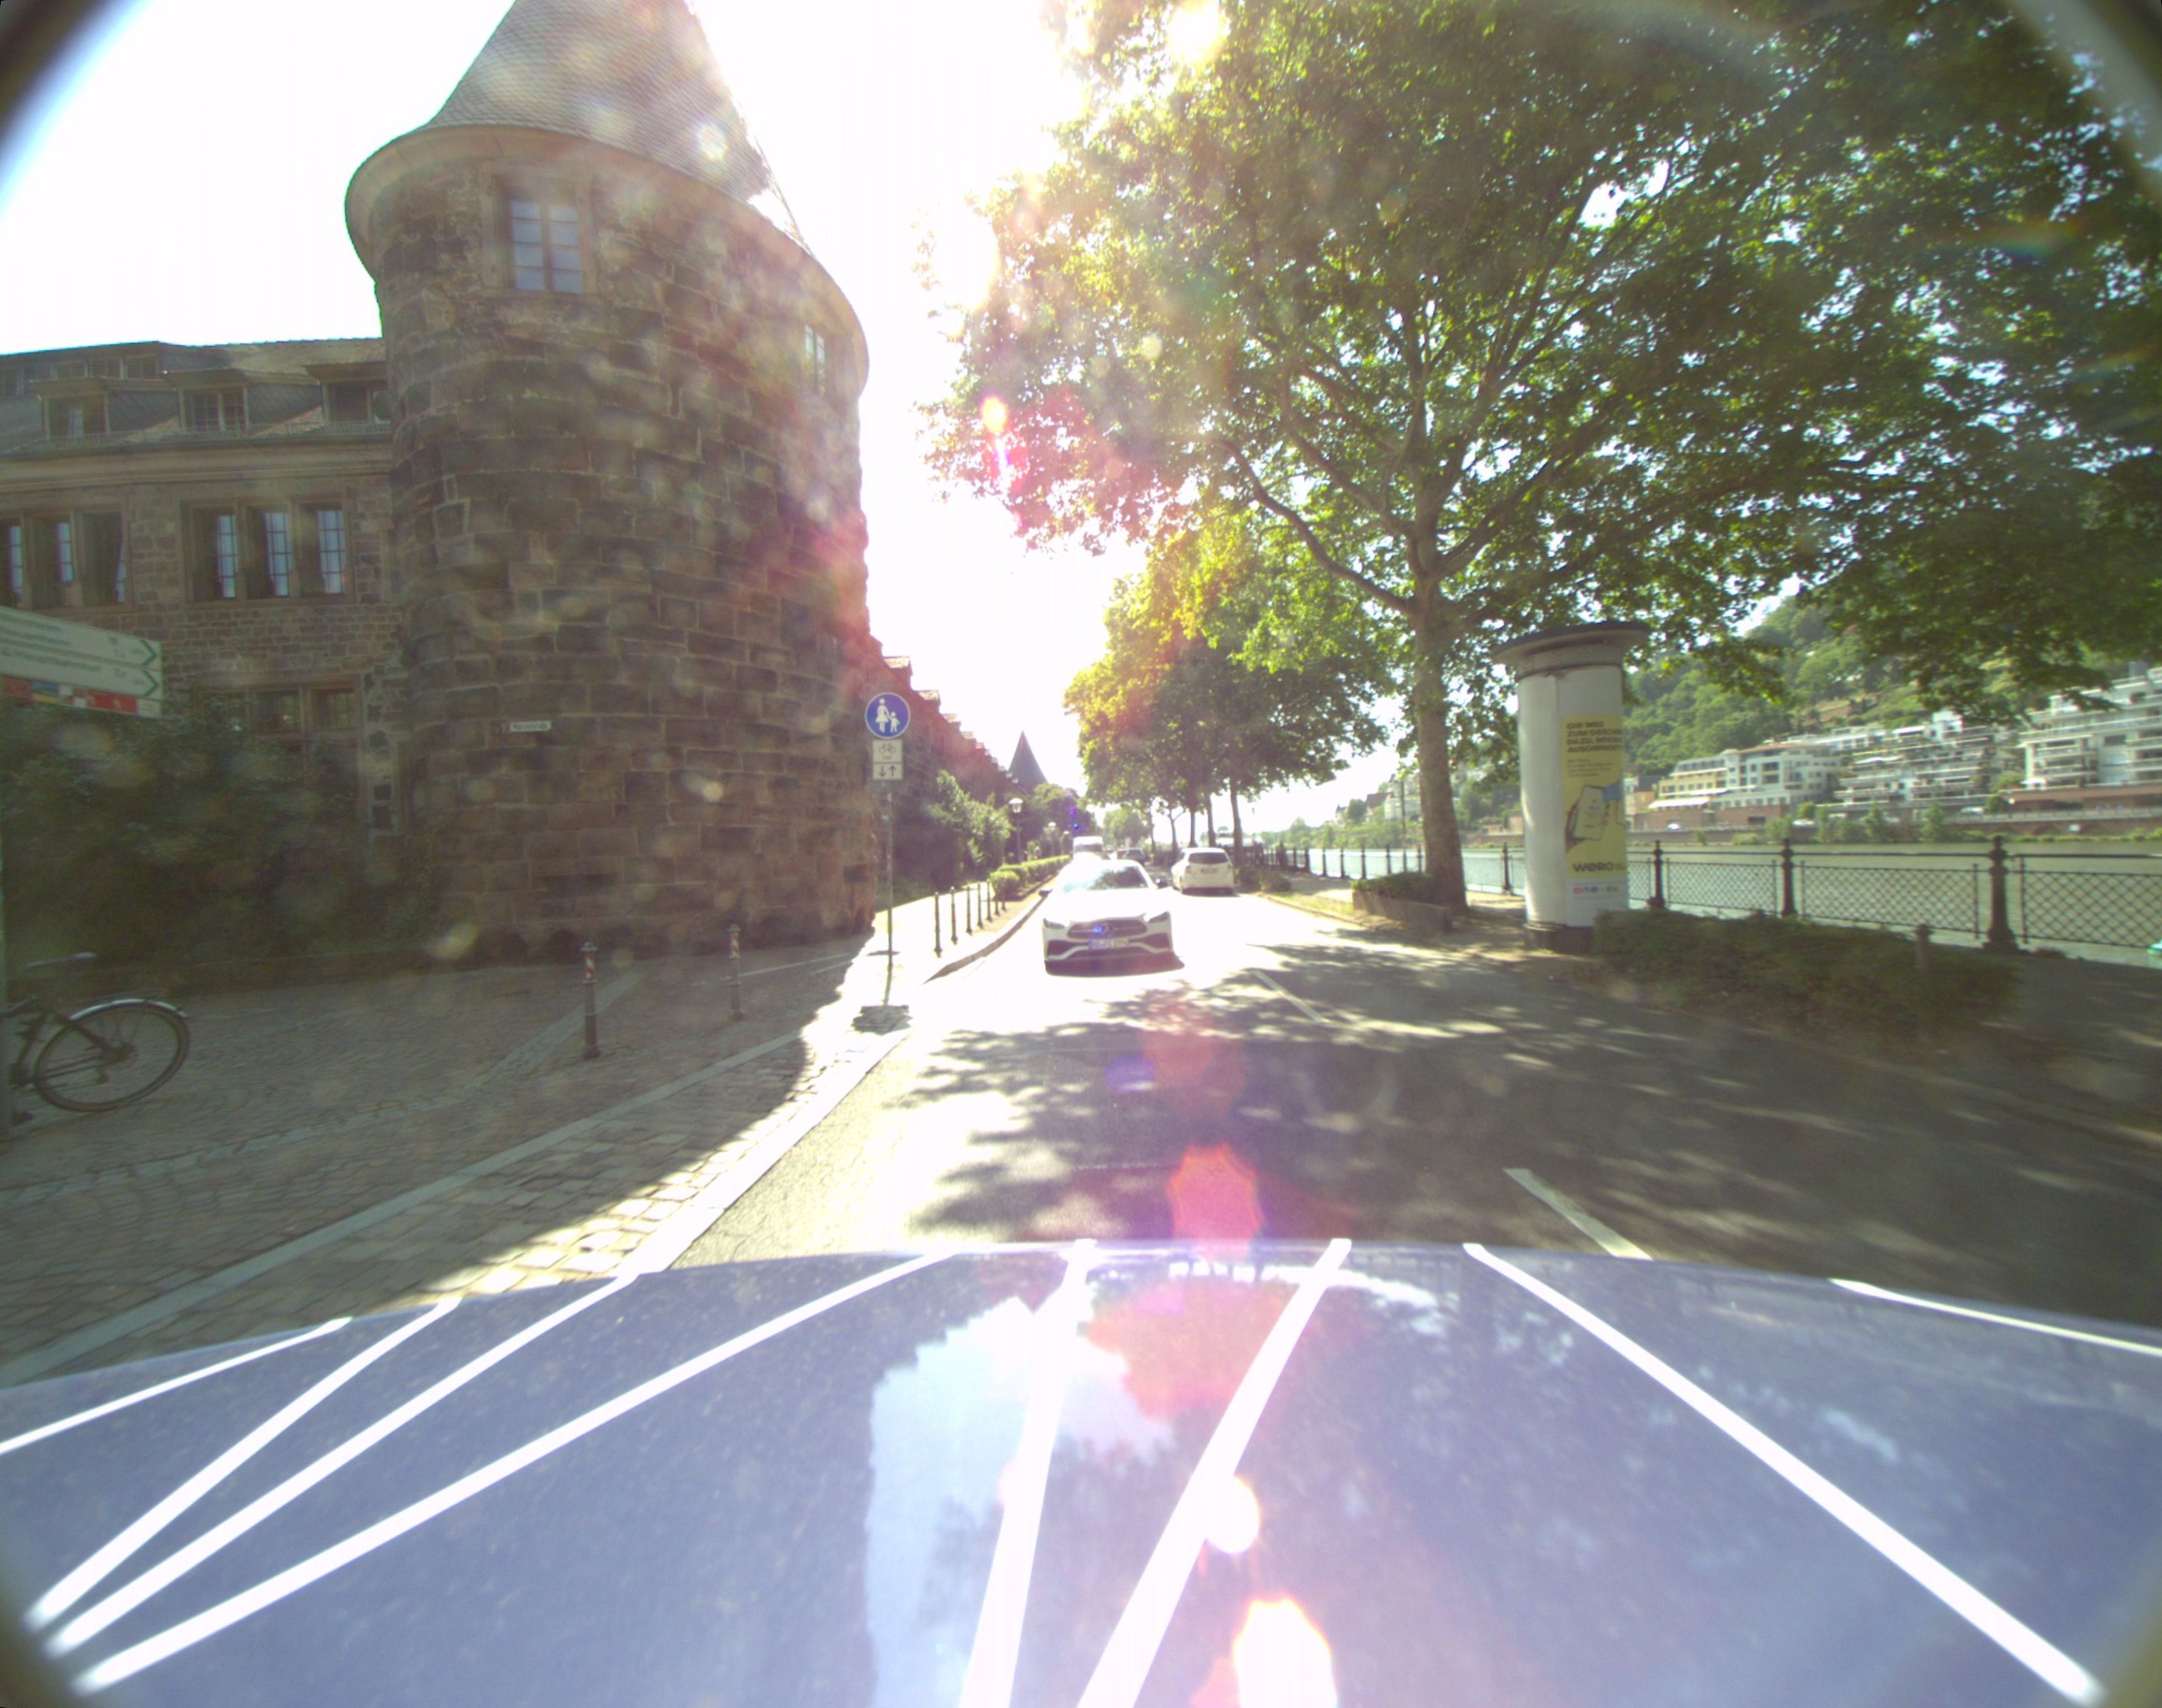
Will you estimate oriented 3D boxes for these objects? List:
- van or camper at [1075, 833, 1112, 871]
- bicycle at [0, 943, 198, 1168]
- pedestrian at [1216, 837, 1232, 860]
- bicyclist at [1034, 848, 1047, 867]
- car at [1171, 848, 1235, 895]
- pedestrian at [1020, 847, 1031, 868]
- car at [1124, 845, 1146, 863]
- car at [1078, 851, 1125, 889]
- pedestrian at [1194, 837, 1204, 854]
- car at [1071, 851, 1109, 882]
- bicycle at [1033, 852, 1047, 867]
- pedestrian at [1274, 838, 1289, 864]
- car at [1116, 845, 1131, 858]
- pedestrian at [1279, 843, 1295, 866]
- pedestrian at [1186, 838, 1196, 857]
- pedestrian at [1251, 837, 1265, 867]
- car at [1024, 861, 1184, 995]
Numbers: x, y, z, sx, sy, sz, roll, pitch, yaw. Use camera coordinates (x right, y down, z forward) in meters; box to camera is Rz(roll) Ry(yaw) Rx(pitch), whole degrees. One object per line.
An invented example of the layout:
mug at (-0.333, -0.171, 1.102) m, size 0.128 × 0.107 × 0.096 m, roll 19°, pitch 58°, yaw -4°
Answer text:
van or camper at (0.806, -0.173, 50.284) m, size 2.313 × 2.358 × 5.034 m, roll -1°, pitch 1°, yaw 1°
bicycle at (-6.350, 1.217, 4.344) m, size 0.194 × 1.197 × 1.770 m, roll -3°, pitch 0°, yaw 12°
pedestrian at (13.107, -0.477, 69.674) m, size 1.047 × 2.002 × 1.036 m, roll -3°, pitch 2°, yaw 32°
bicyclist at (-2.943, 0.265, 54.797) m, size 0.812 × 1.264 × 0.852 m, roll -4°, pitch 2°, yaw 0°
car at (4.343, 0.569, 27.589) m, size 1.743 × 1.563 × 4.091 m, roll 0°, pitch 1°, yaw 1°
pedestrian at (-4.161, 0.259, 57.029) m, size 0.643 × 1.555 × 0.563 m, roll -4°, pitch 2°, yaw 1°
car at (4.987, -0.042, 70.567) m, size 1.773 × 1.650 × 4.000 m, roll 0°, pitch 1°, yaw 2°
car at (0.907, 0.648, 33.539) m, size 1.833 × 1.428 × 4.270 m, roll -4°, pitch 1°, yaw 1°
pedestrian at (11.936, -0.843, 76.961) m, size 0.897 × 1.625 × 1.059 m, roll -4°, pitch 2°, yaw 7°
car at (0.525, 0.630, 41.148) m, size 1.833 × 1.395 × 4.423 m, roll -4°, pitch 1°, yaw 1°
bicycle at (-2.925, 0.389, 54.752) m, size 0.812 × 0.967 × 2.409 m, roll -4°, pitch 1°, yaw 0°
pedestrian at (13.536, -0.218, 51.196) m, size 0.777 × 1.748 × 0.830 m, roll -1°, pitch 1°, yaw 0°
car at (5.413, -0.301, 96.678) m, size 1.677 × 1.650 × 4.222 m, roll 0°, pitch 1°, yaw 1°
pedestrian at (12.832, 0.035, 47.432) m, size 0.768 × 1.379 × 0.770 m, roll -1°, pitch 1°, yaw 0°
pedestrian at (11.067, -0.649, 76.515) m, size 0.806 × 1.839 × 0.929 m, roll -4°, pitch 2°, yaw 1°
pedestrian at (11.326, -0.154, 48.565) m, size 0.767 × 1.890 × 0.771 m, roll -1°, pitch 1°, yaw 9°
car at (0.326, 0.916, 11.308) m, size 1.833 × 1.395 × 4.270 m, roll -4°, pitch 1°, yaw 1°
